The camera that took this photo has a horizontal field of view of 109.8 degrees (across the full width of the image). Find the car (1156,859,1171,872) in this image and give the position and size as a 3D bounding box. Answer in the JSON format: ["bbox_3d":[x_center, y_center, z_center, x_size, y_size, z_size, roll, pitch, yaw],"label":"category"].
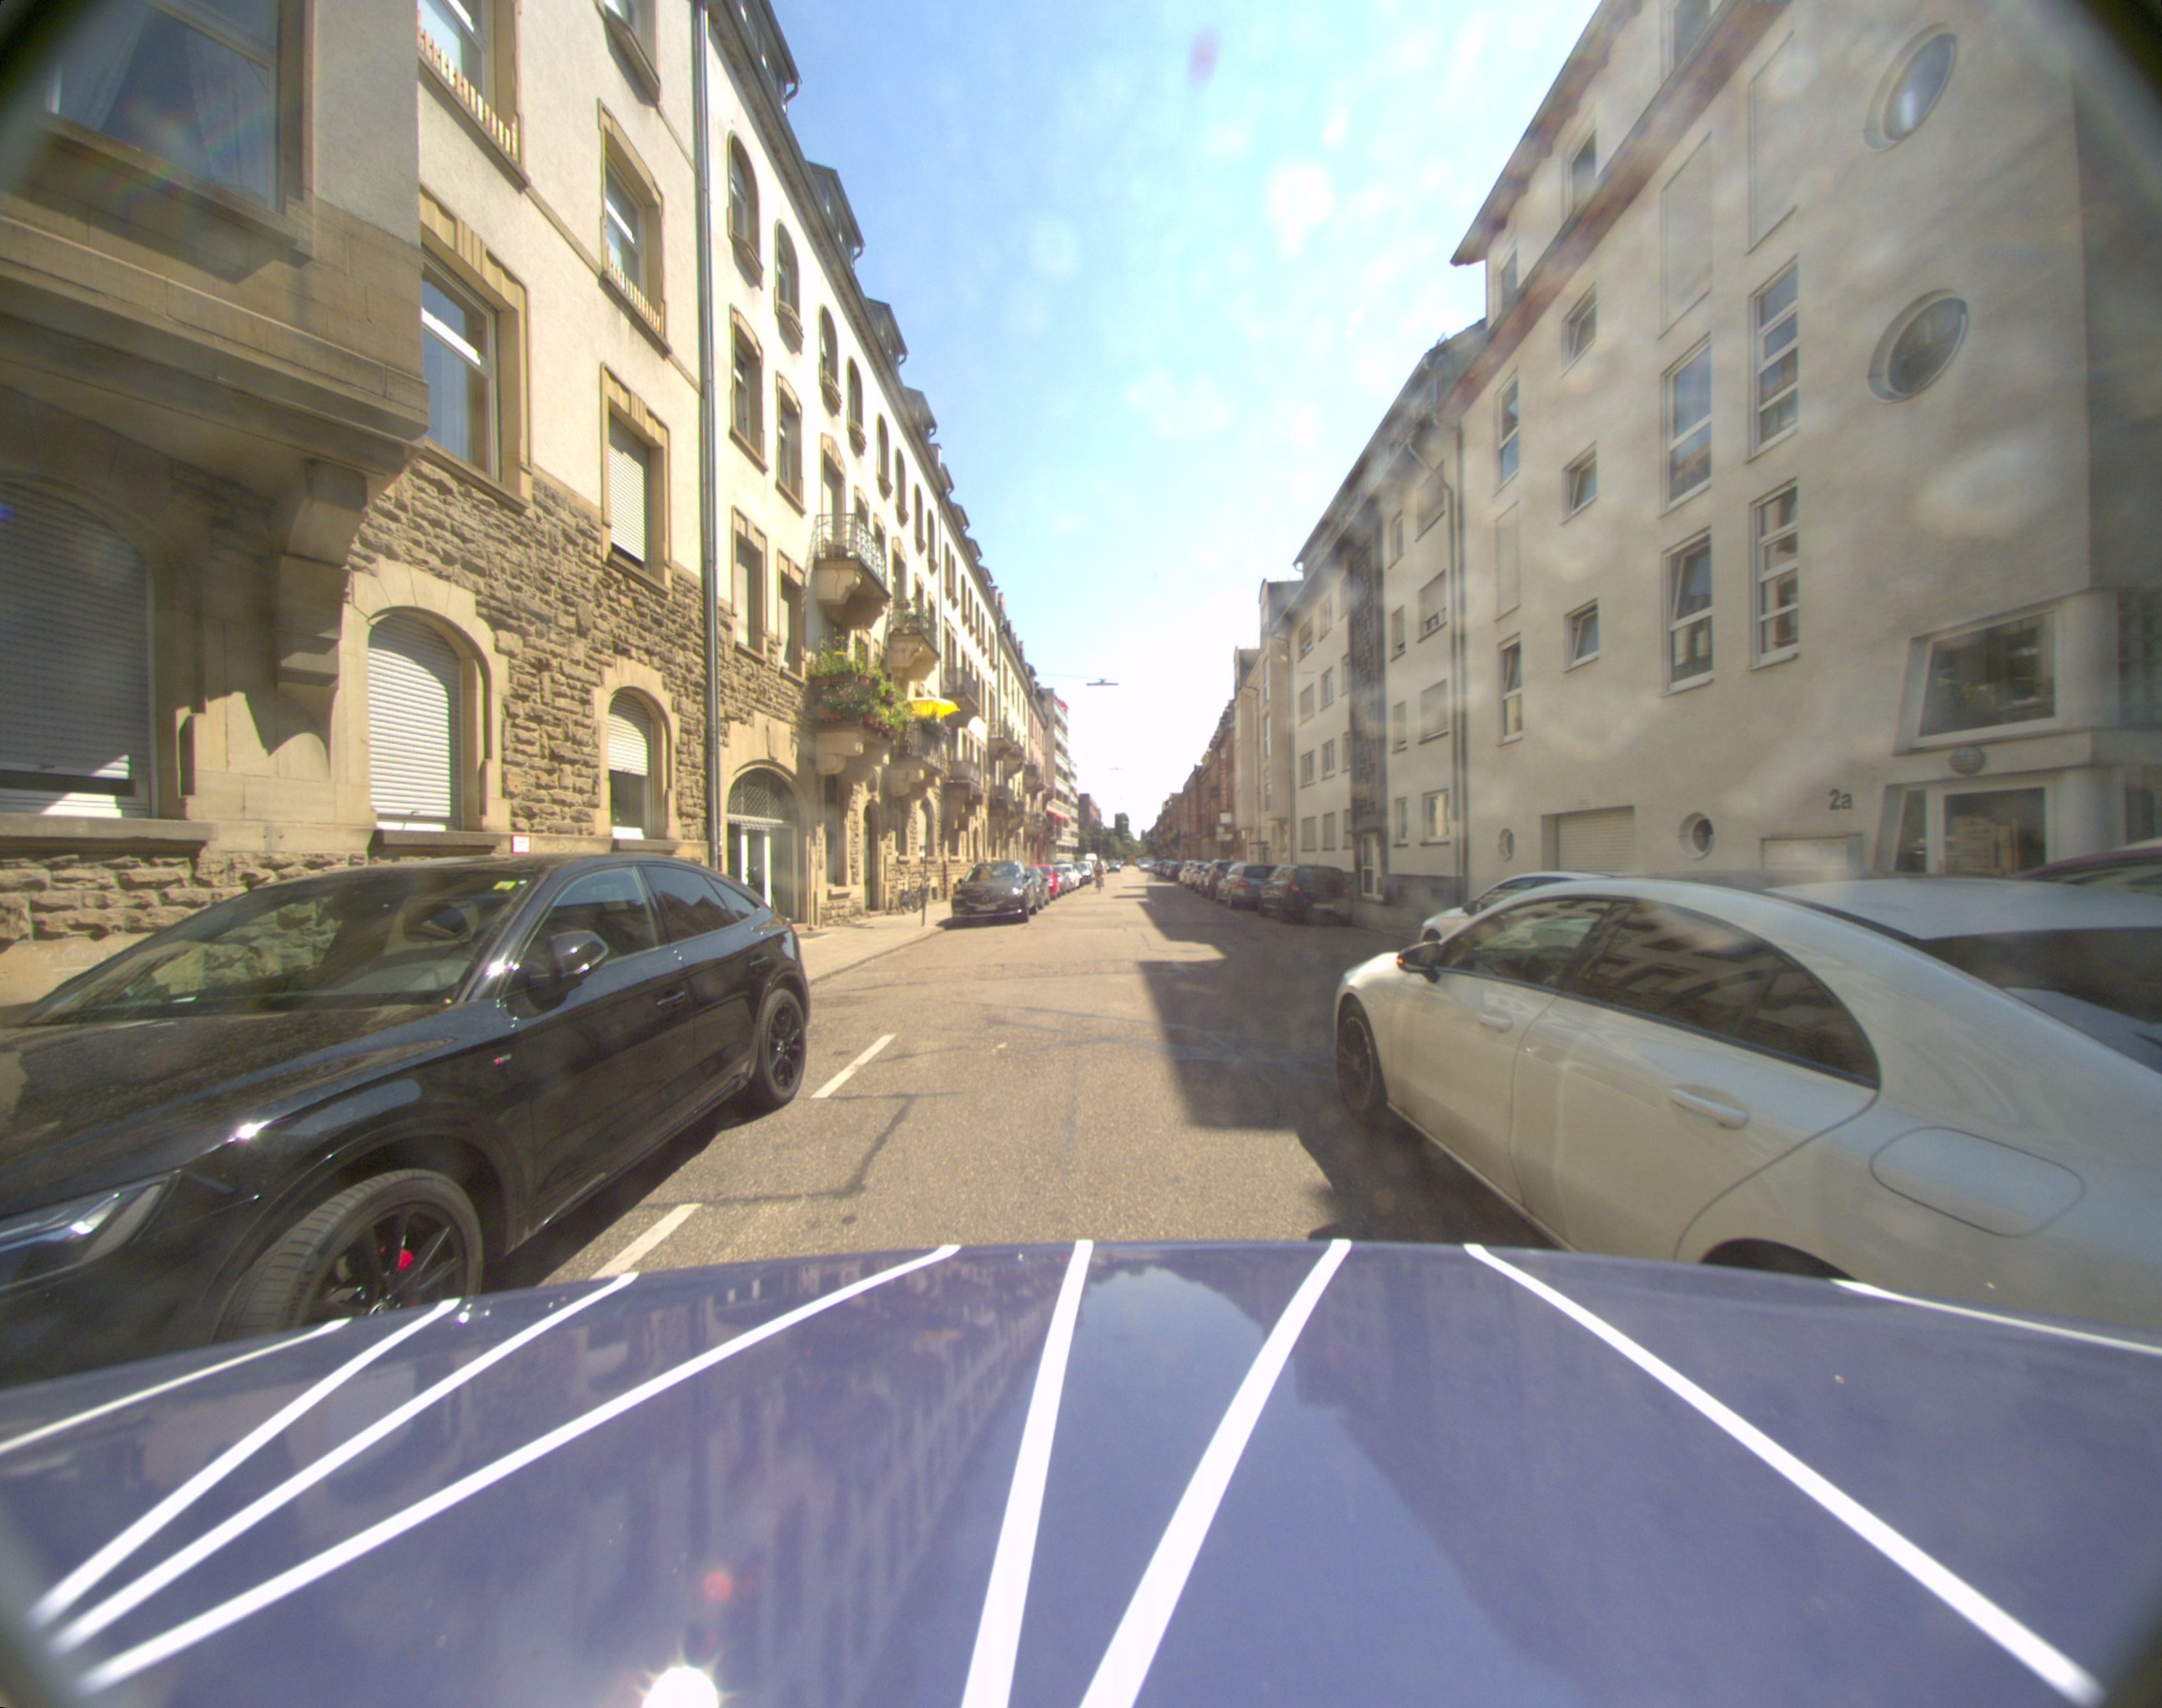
[{"bbox_3d":[9.341,1.278,85.829,1.449,1.391,3.527,4,0,4],"label":"car"}]

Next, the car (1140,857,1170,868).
[{"bbox_3d":[9.965,1.187,102.493,3.995,1.422,1.678,0,0,4],"label":"car"}]

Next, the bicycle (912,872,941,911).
[{"bbox_3d":[-5.048,1.199,24.911,0.442,1.201,1.775,0,0,4],"label":"bicycle"}]

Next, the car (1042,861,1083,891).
[{"bbox_3d":[-0.992,1.177,42.654,1.720,1.444,4.599,-3,0,5],"label":"car"}]

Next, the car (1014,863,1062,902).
[{"bbox_3d":[-1.741,1.146,32.164,1.574,1.444,3.843,-3,0,3],"label":"car"}]

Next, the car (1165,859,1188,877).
[{"bbox_3d":[8.207,1.197,65.505,1.632,1.421,3.679,4,0,5],"label":"car"}]

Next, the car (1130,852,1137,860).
[{"bbox_3d":[13.849,0.457,200.012,1.784,2.002,4.002,-1,0,6],"label":"car"}]

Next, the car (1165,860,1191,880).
[{"bbox_3d":[7.652,1.234,60.190,1.781,1.421,3.838,4,0,5],"label":"car"}]

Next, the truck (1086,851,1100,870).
[{"bbox_3d":[1.750,0.878,110.879,1.869,2.715,4.509,0,0,3],"label":"truck"}]

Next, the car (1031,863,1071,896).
[{"bbox_3d":[-1.420,1.200,37.417,1.593,1.444,3.857,-3,0,2],"label":"car"}]

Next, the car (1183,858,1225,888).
[{"bbox_3d":[6.826,1.039,42.509,1.734,1.486,4.349,2,0,2],"label":"car"}]

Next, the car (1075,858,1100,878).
[{"bbox_3d":[0.551,1.150,64.794,1.651,1.613,4.094,0,0,7],"label":"car"}]

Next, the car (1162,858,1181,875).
[{"bbox_3d":[8.842,1.218,74.702,1.450,1.464,3.526,4,0,1],"label":"car"}]

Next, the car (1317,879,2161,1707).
[{"bbox_3d":[2.293,0.910,2.389,1.846,1.452,4.363,2,0,2],"label":"car"}]

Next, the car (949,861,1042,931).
[{"bbox_3d":[-2.176,1.042,20.579,1.837,1.558,4.605,-3,0,1],"label":"car"}]

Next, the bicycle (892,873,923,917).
[{"bbox_3d":[-5.123,1.181,22.509,0.385,1.201,1.775,0,0,4],"label":"bicycle"}]

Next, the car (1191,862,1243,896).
[{"bbox_3d":[6.342,1.132,35.815,1.769,1.385,4.349,2,0,2],"label":"car"}]

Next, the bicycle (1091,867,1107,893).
[{"bbox_3d":[0.862,1.223,36.464,0.671,1.169,2.095,0,0,4],"label":"bicycle"}]

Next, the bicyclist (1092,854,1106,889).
[{"bbox_3d":[0.866,0.831,36.578,0.644,1.640,0.622,0,1,4],"label":"bicyclist"}]

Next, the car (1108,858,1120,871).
[{"bbox_3d":[4.404,1.395,100.701,1.624,1.600,3.598,0,0,3],"label":"car"}]

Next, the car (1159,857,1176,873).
[{"bbox_3d":[9.157,1.162,80.894,1.449,1.633,3.526,4,0,2],"label":"car"}]

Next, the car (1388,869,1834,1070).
[{"bbox_3d":[5.076,0.958,8.179,1.781,1.451,4.279,2,0,0],"label":"car"}]

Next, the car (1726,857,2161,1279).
[{"bbox_3d":[4.914,0.834,2.760,1.676,1.573,4.052,2,0,1],"label":"car"}]

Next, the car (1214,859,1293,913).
[{"bbox_3d":[5.540,0.973,24.972,1.660,1.510,4.672,2,0,2],"label":"car"}]

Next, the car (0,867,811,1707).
[{"bbox_3d":[-2.772,0.922,3.050,1.740,1.587,4.348,-3,0,0],"label":"car"}]

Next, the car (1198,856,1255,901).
[{"bbox_3d":[5.781,0.932,30.602,1.607,1.634,3.977,2,0,2],"label":"car"}]

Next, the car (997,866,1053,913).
[{"bbox_3d":[-1.861,1.162,26.169,1.516,1.390,3.972,-3,0,1],"label":"car"}]

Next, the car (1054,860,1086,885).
[{"bbox_3d":[-0.646,1.147,48.186,1.740,1.449,4.669,0,0,3],"label":"car"}]

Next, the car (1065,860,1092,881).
[{"bbox_3d":[-0.112,1.148,54.128,1.828,1.423,4.490,-1,0,1],"label":"car"}]

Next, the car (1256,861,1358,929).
[{"bbox_3d":[5.699,0.977,19.629,1.571,1.483,3.894,2,0,2],"label":"car"}]

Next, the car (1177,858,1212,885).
[{"bbox_3d":[7.351,1.125,49.513,1.633,1.540,3.853,4,0,0],"label":"car"}]
